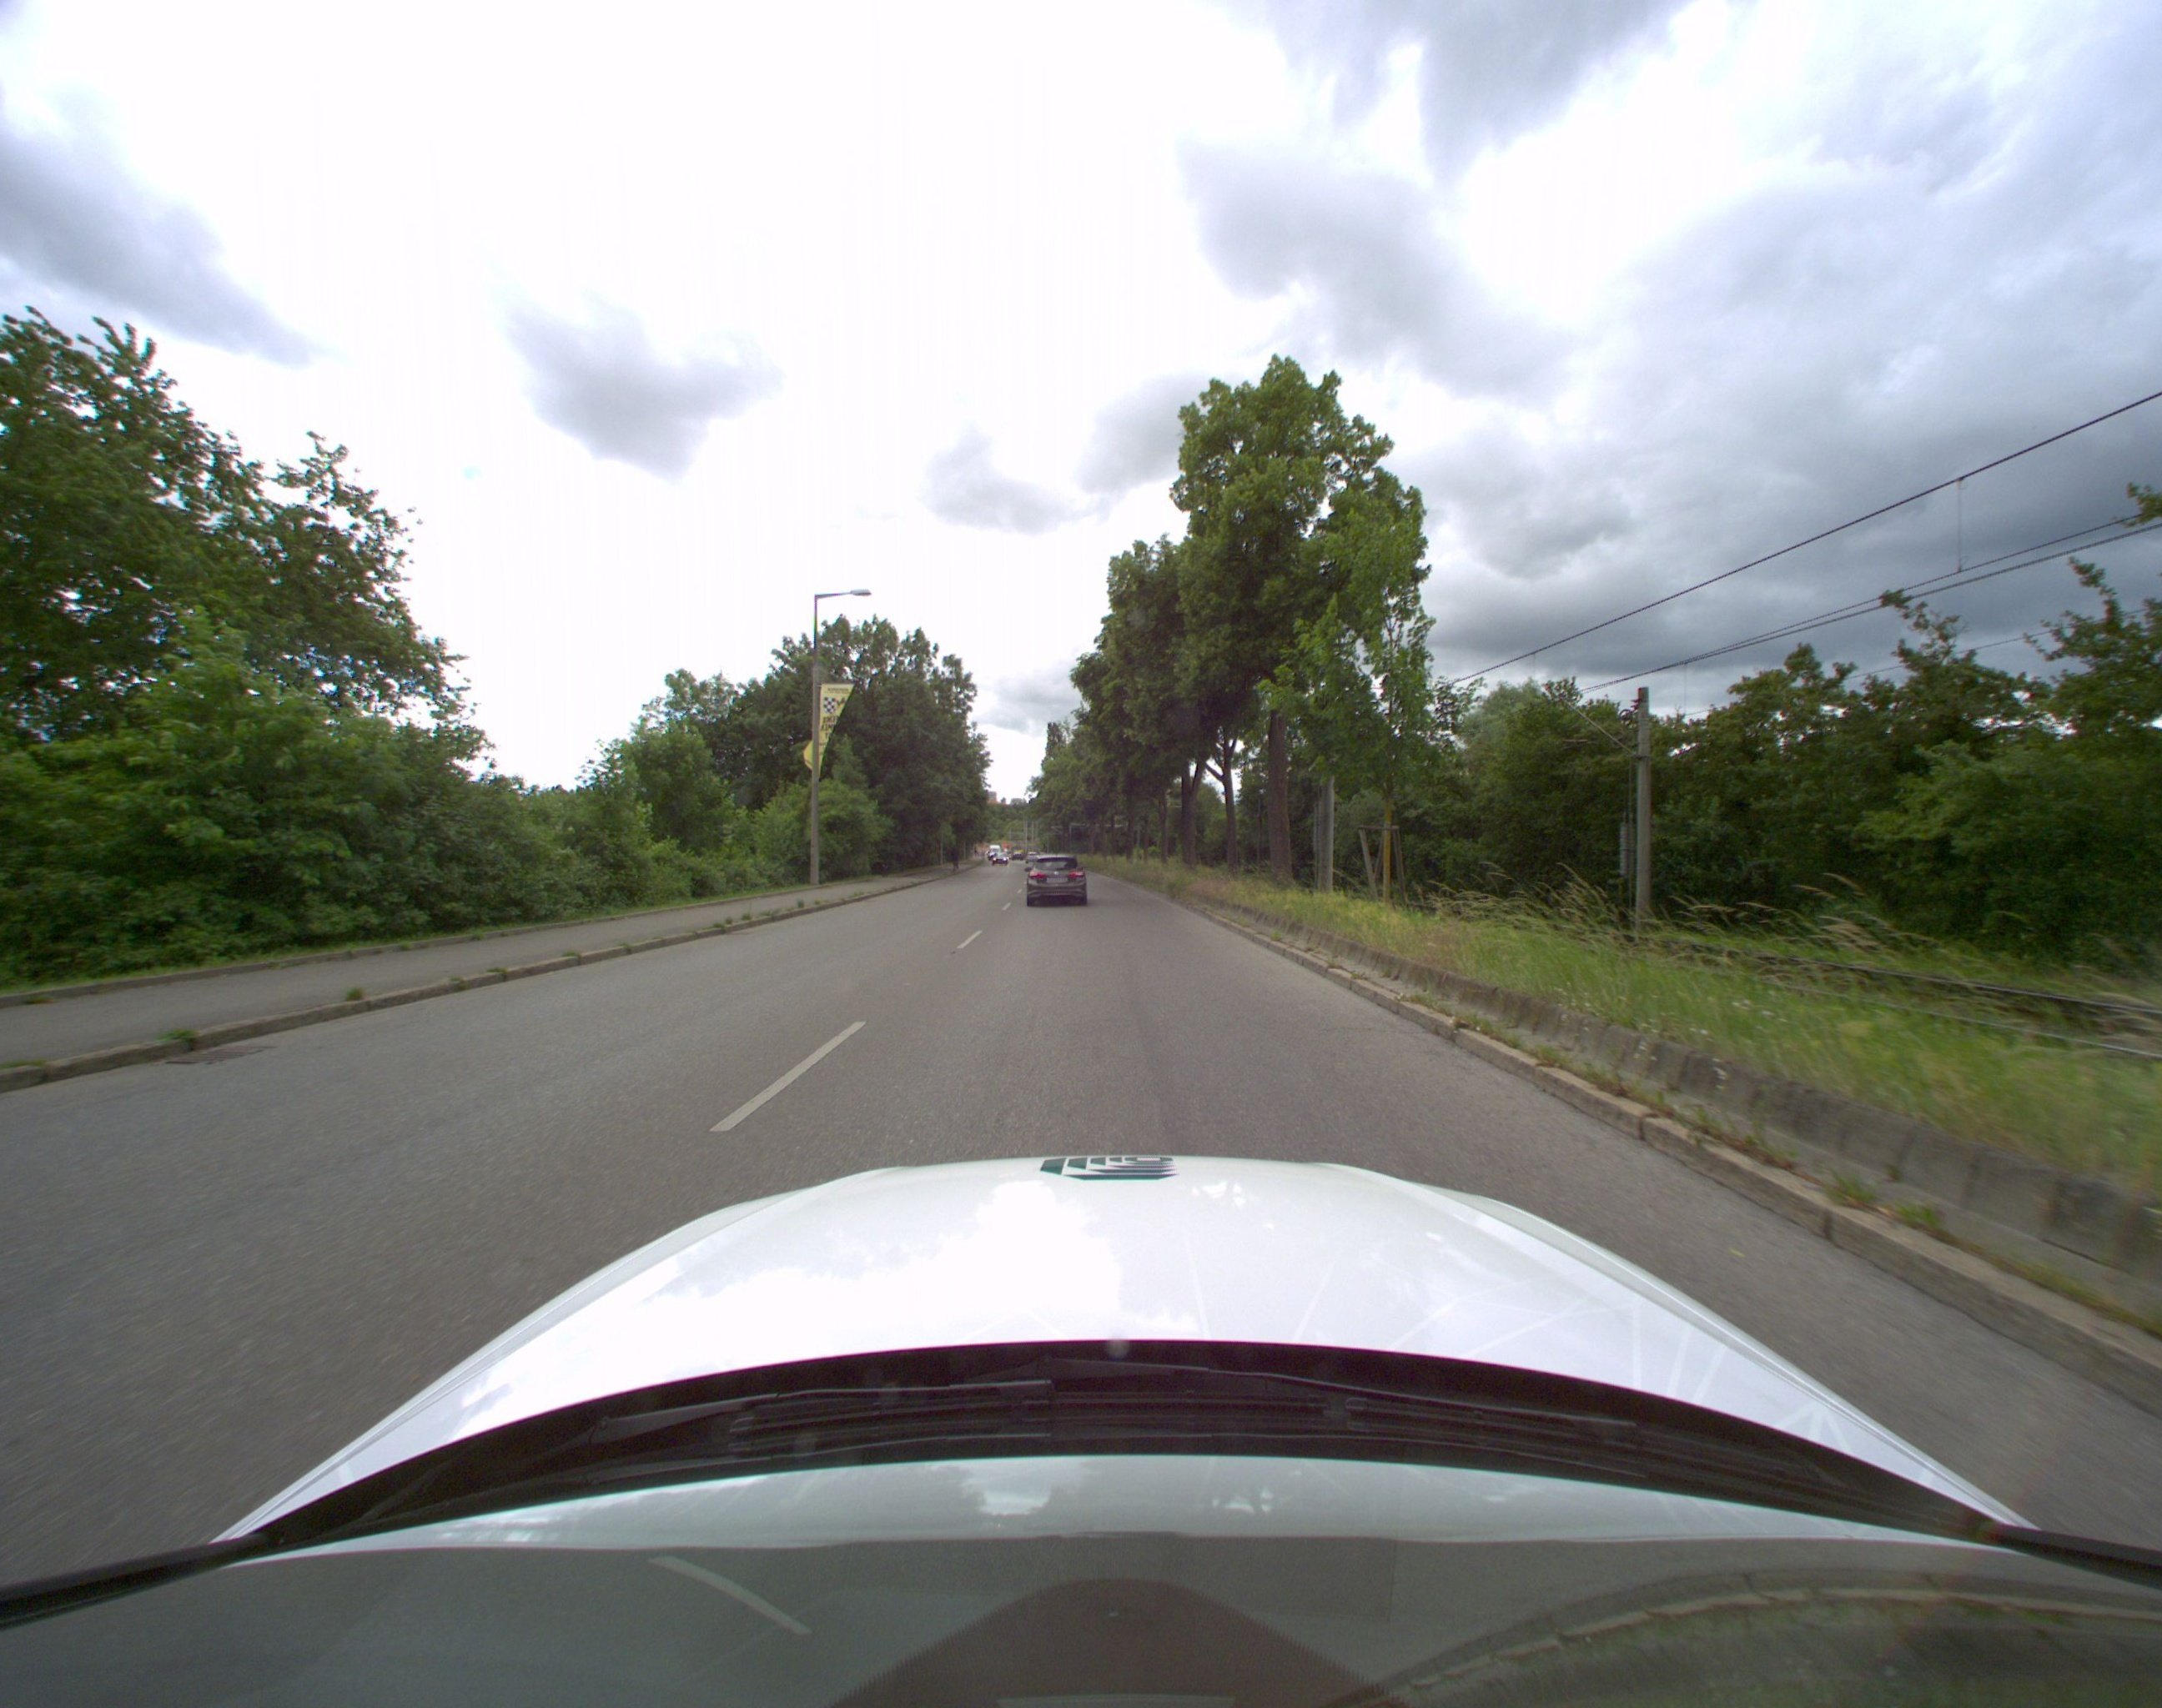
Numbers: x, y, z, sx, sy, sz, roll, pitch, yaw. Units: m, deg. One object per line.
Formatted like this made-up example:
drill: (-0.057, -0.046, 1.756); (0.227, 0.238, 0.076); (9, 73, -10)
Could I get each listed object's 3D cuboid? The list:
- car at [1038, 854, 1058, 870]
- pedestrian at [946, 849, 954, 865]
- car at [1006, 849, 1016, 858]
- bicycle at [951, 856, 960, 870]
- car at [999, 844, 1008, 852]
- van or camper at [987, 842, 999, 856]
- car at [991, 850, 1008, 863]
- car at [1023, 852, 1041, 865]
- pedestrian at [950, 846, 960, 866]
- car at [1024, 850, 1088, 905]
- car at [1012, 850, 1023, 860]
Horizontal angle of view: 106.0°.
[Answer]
car: (-3.504, 0.817, 84.938); (1.773, 1.472, 3.992); (2, 1, -6)
pedestrian: (-13.124, 0.304, 81.572); (0.694, 1.621, 0.684); (2, 1, -2)
car: (-13.167, -0.064, 153.157); (1.772, 1.472, 3.996); (1, 1, -3)
bicycle: (-10.110, 0.727, 65.499); (0.486, 1.030, 1.124); (2, 1, -1)
car: (-16.773, -1.318, 176.706); (1.772, 1.472, 3.996); (2, 1, -3)
van or camper: (-14.549, -0.835, 134.755); (1.923, 2.151, 3.924); (2, 1, -6)
car: (-9.459, 0.246, 95.077); (1.745, 1.464, 3.916); (2, 0, -3)
car: (-6.689, 0.590, 111.212); (1.777, 1.472, 3.984); (2, 1, -12)
pedestrian: (-10.127, 0.161, 65.453); (0.616, 1.571, 0.849); (2, 1, -1)
car: (-0.748, 0.652, 25.110); (1.811, 1.508, 3.998); (0, 1, -2)
car: (-10.821, 0.168, 139.005); (1.772, 1.472, 3.996); (2, 1, -3)
